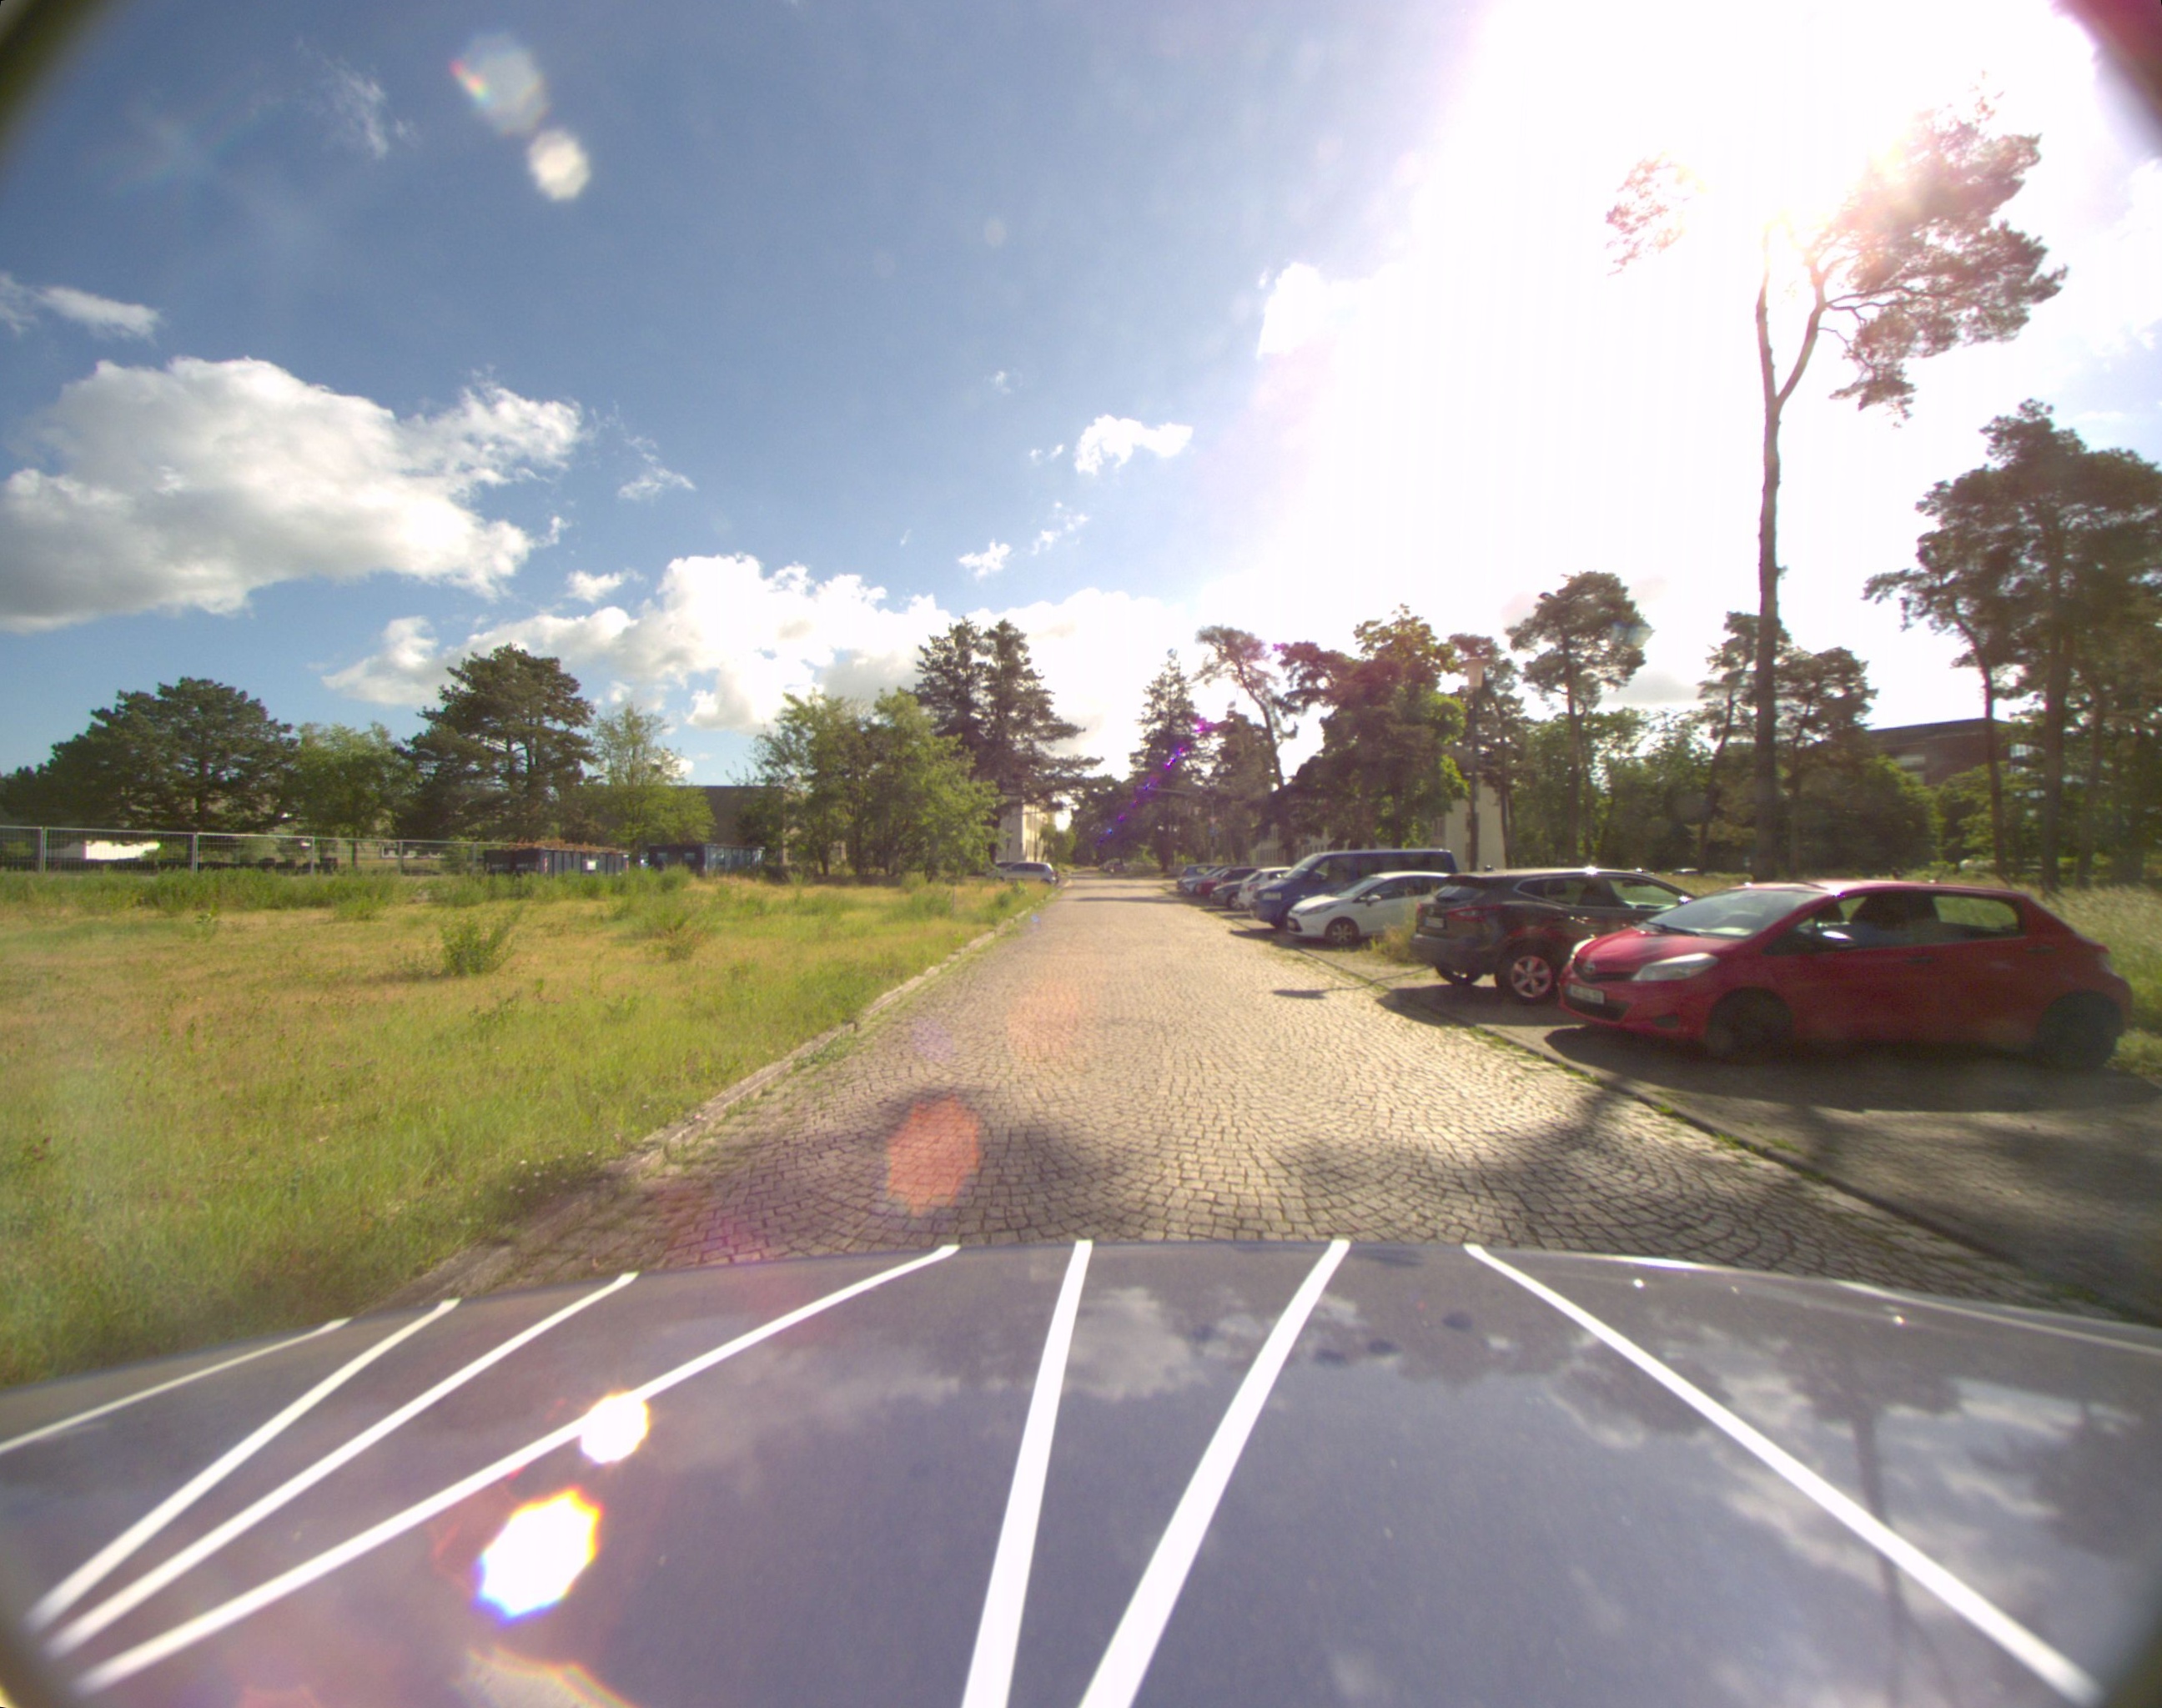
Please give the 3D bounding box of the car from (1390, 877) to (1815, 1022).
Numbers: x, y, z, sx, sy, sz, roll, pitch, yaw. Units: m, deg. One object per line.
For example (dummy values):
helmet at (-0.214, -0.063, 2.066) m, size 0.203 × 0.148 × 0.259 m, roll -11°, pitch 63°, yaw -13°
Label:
car at (6.267, 1.103, 9.544) m, size 3.963 × 1.558 × 1.974 m, roll -1°, pitch -1°, yaw 0°

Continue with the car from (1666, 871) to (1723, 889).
car at (60.806, 2.545, 75.327) m, size 4.055 × 1.620 × 1.841 m, roll 2°, pitch 0°, yaw 3°

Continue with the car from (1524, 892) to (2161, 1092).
car at (6.480, 1.114, 6.805) m, size 3.933 × 1.440 × 1.867 m, roll -1°, pitch -1°, yaw 0°

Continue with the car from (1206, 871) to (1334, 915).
car at (6.545, 1.346, 26.660) m, size 4.086 × 1.417 × 1.923 m, roll 0°, pitch 0°, yaw 3°

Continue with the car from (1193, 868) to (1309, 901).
car at (7.630, 1.380, 34.499) m, size 4.876 × 1.412 × 1.939 m, roll 0°, pitch 0°, yaw 2°

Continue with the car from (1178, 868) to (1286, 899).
car at (7.263, 1.414, 36.855) m, size 4.876 × 1.412 × 1.938 m, roll 0°, pitch 1°, yaw 2°

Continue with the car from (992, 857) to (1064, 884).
car at (-3.442, 1.057, 49.579) m, size 4.524 × 1.456 × 1.838 m, roll 3°, pitch 0°, yaw -1°

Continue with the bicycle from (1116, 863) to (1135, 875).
bicycle at (5.291, 1.806, 91.064) m, size 2.113 × 1.276 × 0.621 m, roll -4°, pitch 0°, yaw -1°

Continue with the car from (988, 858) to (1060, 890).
car at (-3.072, 1.063, 41.588) m, size 3.750 × 1.468 × 1.752 m, roll 4°, pitch 0°, yaw 0°

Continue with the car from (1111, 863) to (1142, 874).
car at (6.383, 2.017, 105.898) m, size 4.044 × 1.514 × 1.817 m, roll 1°, pitch 0°, yaw -6°

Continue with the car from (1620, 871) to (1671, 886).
car at (61.572, 2.651, 82.905) m, size 4.104 × 1.571 × 1.720 m, roll 1°, pitch 0°, yaw 3°

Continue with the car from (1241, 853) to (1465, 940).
car at (6.454, 0.991, 18.461) m, size 4.729 × 1.956 × 2.006 m, roll -1°, pitch 0°, yaw 2°

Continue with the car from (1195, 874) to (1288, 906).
car at (6.742, 1.511, 32.213) m, size 3.639 × 1.227 × 1.760 m, roll 0°, pitch 1°, yaw 3°

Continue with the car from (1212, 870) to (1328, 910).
car at (7.275, 1.372, 29.526) m, size 4.086 × 1.443 × 1.822 m, roll 0°, pitch 1°, yaw 3°

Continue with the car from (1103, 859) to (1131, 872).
car at (5.904, 1.887, 123.273) m, size 4.226 × 1.902 × 1.816 m, roll 1°, pitch 0°, yaw -8°

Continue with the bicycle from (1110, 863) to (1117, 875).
bicycle at (3.761, 1.714, 87.759) m, size 0.621 × 1.342 × 2.114 m, roll -1°, pitch 0°, yaw -3°

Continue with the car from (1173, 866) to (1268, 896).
car at (7.204, 1.403, 39.578) m, size 4.593 × 1.443 × 1.984 m, roll 0°, pitch 0°, yaw -2°

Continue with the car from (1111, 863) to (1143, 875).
car at (6.264, 1.974, 102.875) m, size 4.044 × 1.493 × 1.817 m, roll 1°, pitch 0°, yaw -6°

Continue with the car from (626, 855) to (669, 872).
car at (-45.115, 0.963, 79.186) m, size 1.860 × 1.555 × 4.060 m, roll 1°, pitch 3°, yaw 4°

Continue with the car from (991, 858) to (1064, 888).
car at (-3.074, 1.106, 44.336) m, size 4.014 × 1.432 × 1.844 m, roll 4°, pitch 0°, yaw 0°

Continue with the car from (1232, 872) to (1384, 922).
car at (7.001, 1.325, 23.763) m, size 4.206 × 1.466 × 1.824 m, roll 0°, pitch 0°, yaw 2°

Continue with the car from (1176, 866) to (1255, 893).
car at (7.442, 1.397, 42.193) m, size 4.037 × 1.474 × 1.949 m, roll 0°, pitch -1°, yaw 0°

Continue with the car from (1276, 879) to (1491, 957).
car at (6.206, 1.295, 15.883) m, size 3.826 × 1.431 × 1.683 m, roll -1°, pitch 0°, yaw -1°
